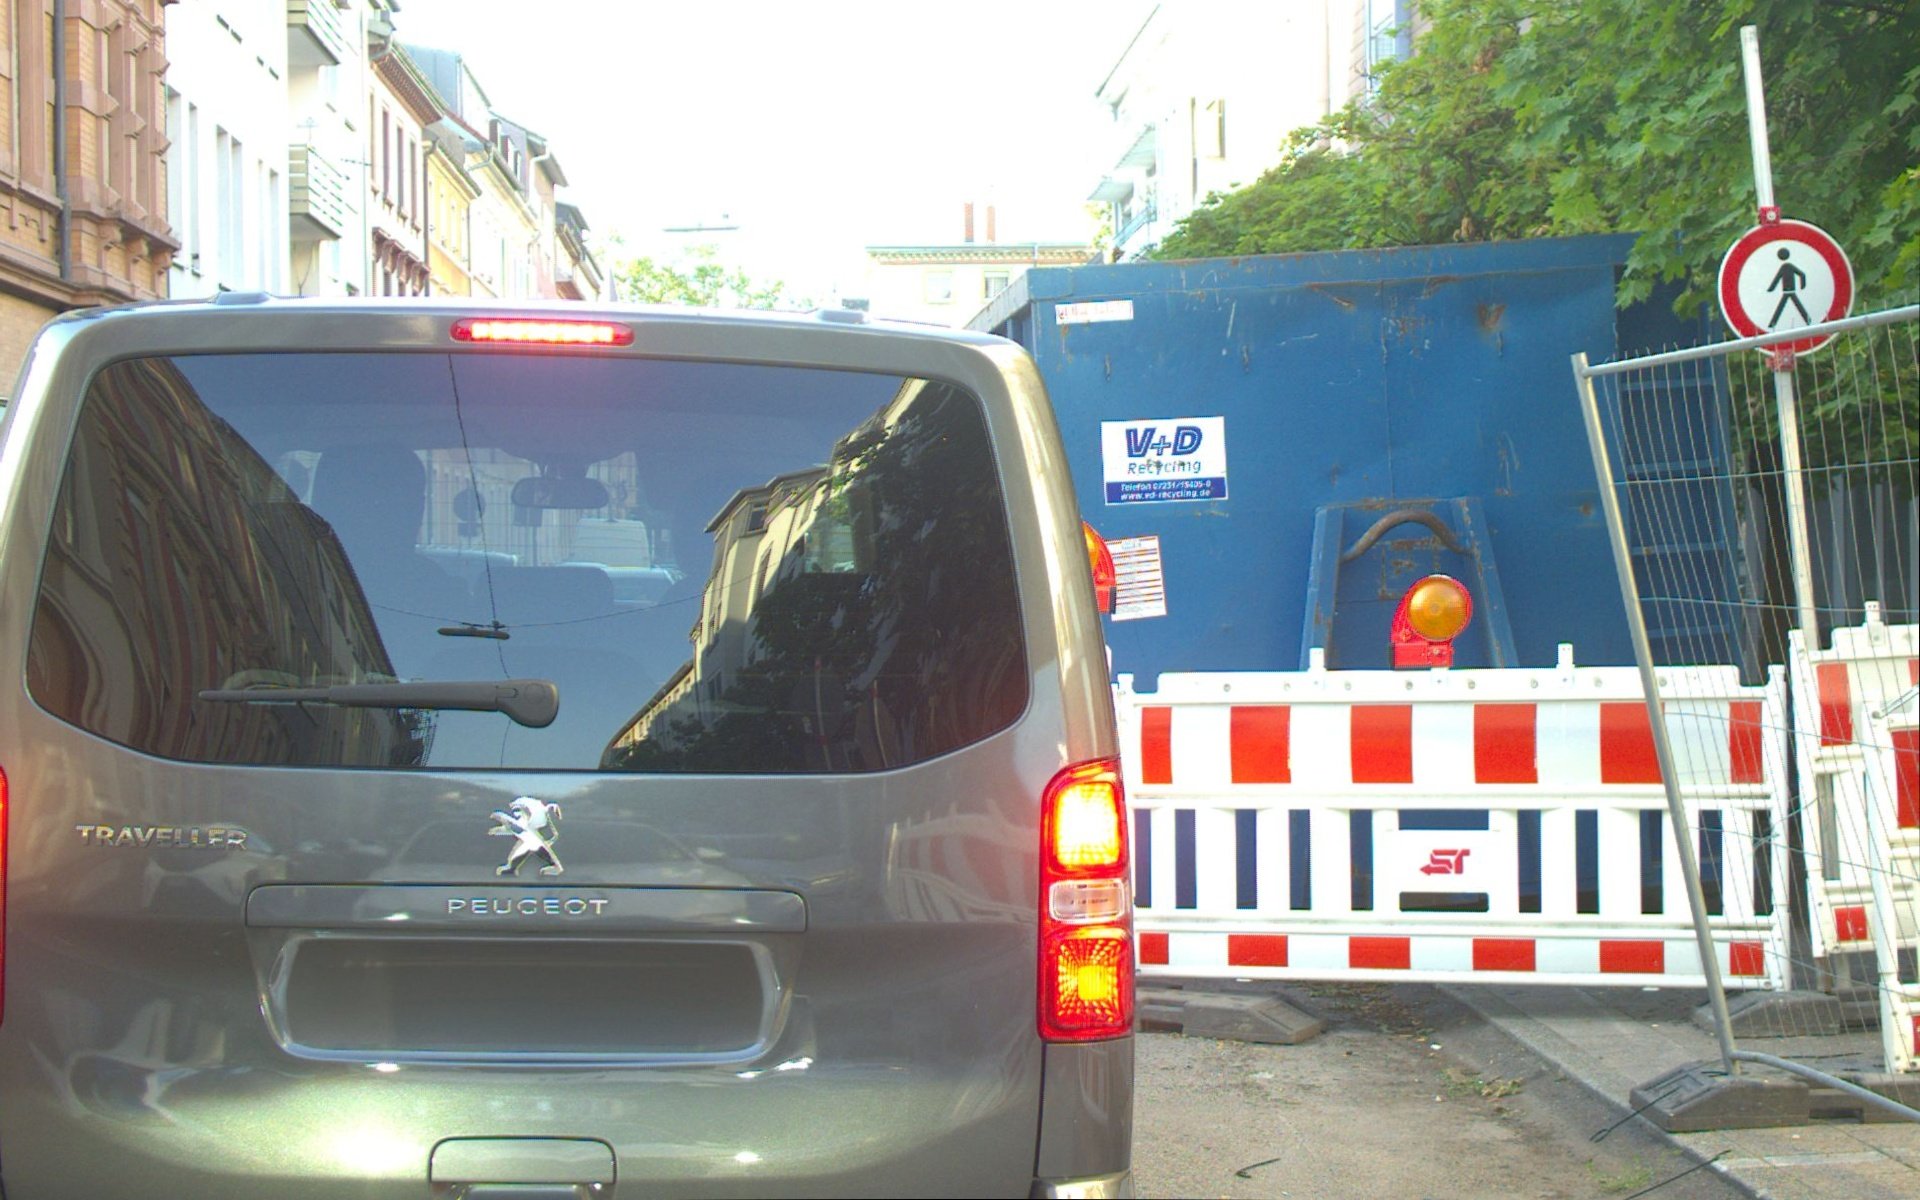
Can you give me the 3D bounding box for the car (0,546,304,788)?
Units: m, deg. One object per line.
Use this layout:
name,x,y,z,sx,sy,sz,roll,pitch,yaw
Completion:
car,-5.737,0.444,24.725,1.655,1.520,3.418,4,0,-7

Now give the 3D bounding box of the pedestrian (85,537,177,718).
pedestrian,-7.731,0.251,32.074,0.739,1.659,0.704,-1,1,-7

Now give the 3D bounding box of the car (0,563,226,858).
car,-5.203,0.546,19.417,1.655,1.455,3.418,4,0,-7

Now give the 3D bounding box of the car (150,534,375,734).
car,-6.399,0.295,31.807,1.666,1.660,3.092,4,0,-7

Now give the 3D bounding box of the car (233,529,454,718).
car,-6.295,0.224,35.452,1.891,1.714,3.755,4,0,-7

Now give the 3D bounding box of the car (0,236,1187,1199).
car,-0.861,0.456,6.676,1.865,1.880,4.236,0,0,-7
